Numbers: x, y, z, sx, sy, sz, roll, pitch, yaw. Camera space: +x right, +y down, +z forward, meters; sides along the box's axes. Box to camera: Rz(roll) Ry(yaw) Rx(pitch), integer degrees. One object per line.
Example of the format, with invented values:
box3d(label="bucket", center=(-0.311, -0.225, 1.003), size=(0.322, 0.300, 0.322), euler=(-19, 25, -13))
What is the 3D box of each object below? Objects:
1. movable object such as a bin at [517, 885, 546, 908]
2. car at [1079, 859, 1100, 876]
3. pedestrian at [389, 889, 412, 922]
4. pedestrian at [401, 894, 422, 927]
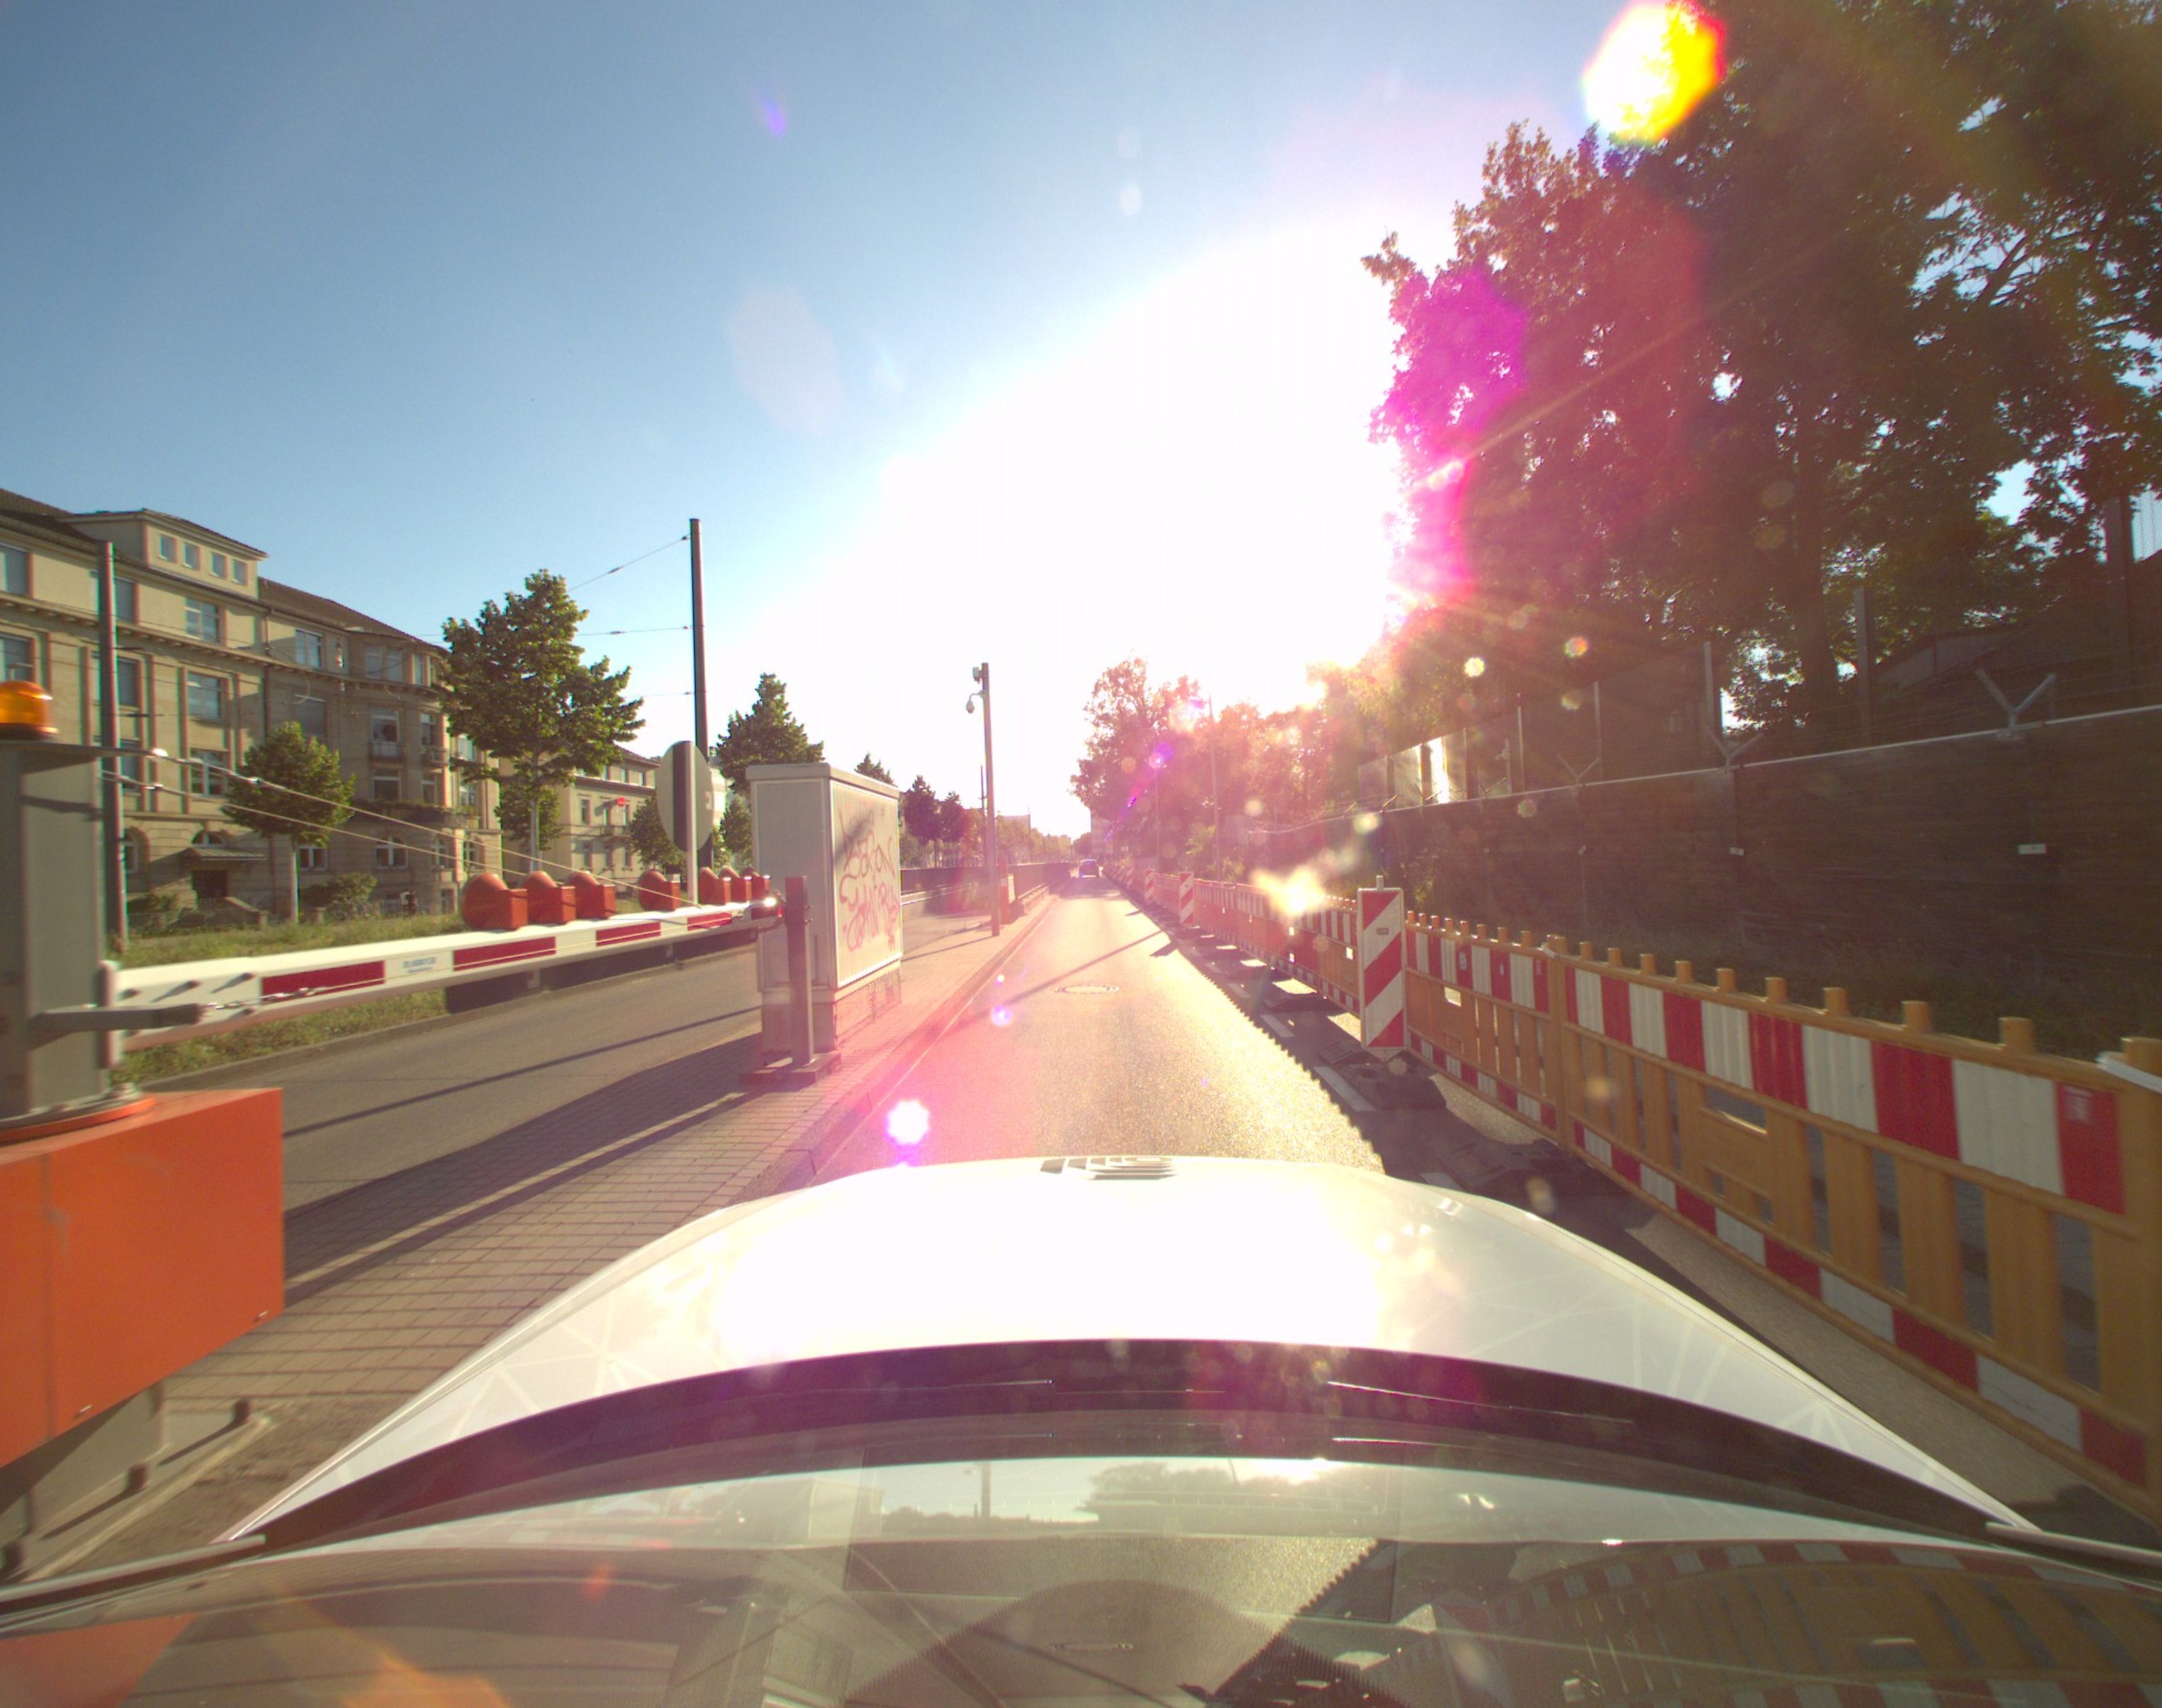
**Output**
box3d(label="movable object such as a bin", center=(-37.248, 2.879, 55.201), size=(1.201, 1.429, 1.080), euler=(-2, 0, 0))
box3d(label="car", center=(0.856, 1.330, 79.178), size=(1.998, 1.659, 4.001), euler=(0, -1, 1))
box3d(label="pedestrian", center=(-36.386, 2.764, 43.538), size=(0.653, 1.720, 0.653), euler=(-2, -1, 0))
box3d(label="pedestrian", center=(-35.757, 3.000, 43.495), size=(0.553, 1.720, 0.653), euler=(-2, -1, 0))
